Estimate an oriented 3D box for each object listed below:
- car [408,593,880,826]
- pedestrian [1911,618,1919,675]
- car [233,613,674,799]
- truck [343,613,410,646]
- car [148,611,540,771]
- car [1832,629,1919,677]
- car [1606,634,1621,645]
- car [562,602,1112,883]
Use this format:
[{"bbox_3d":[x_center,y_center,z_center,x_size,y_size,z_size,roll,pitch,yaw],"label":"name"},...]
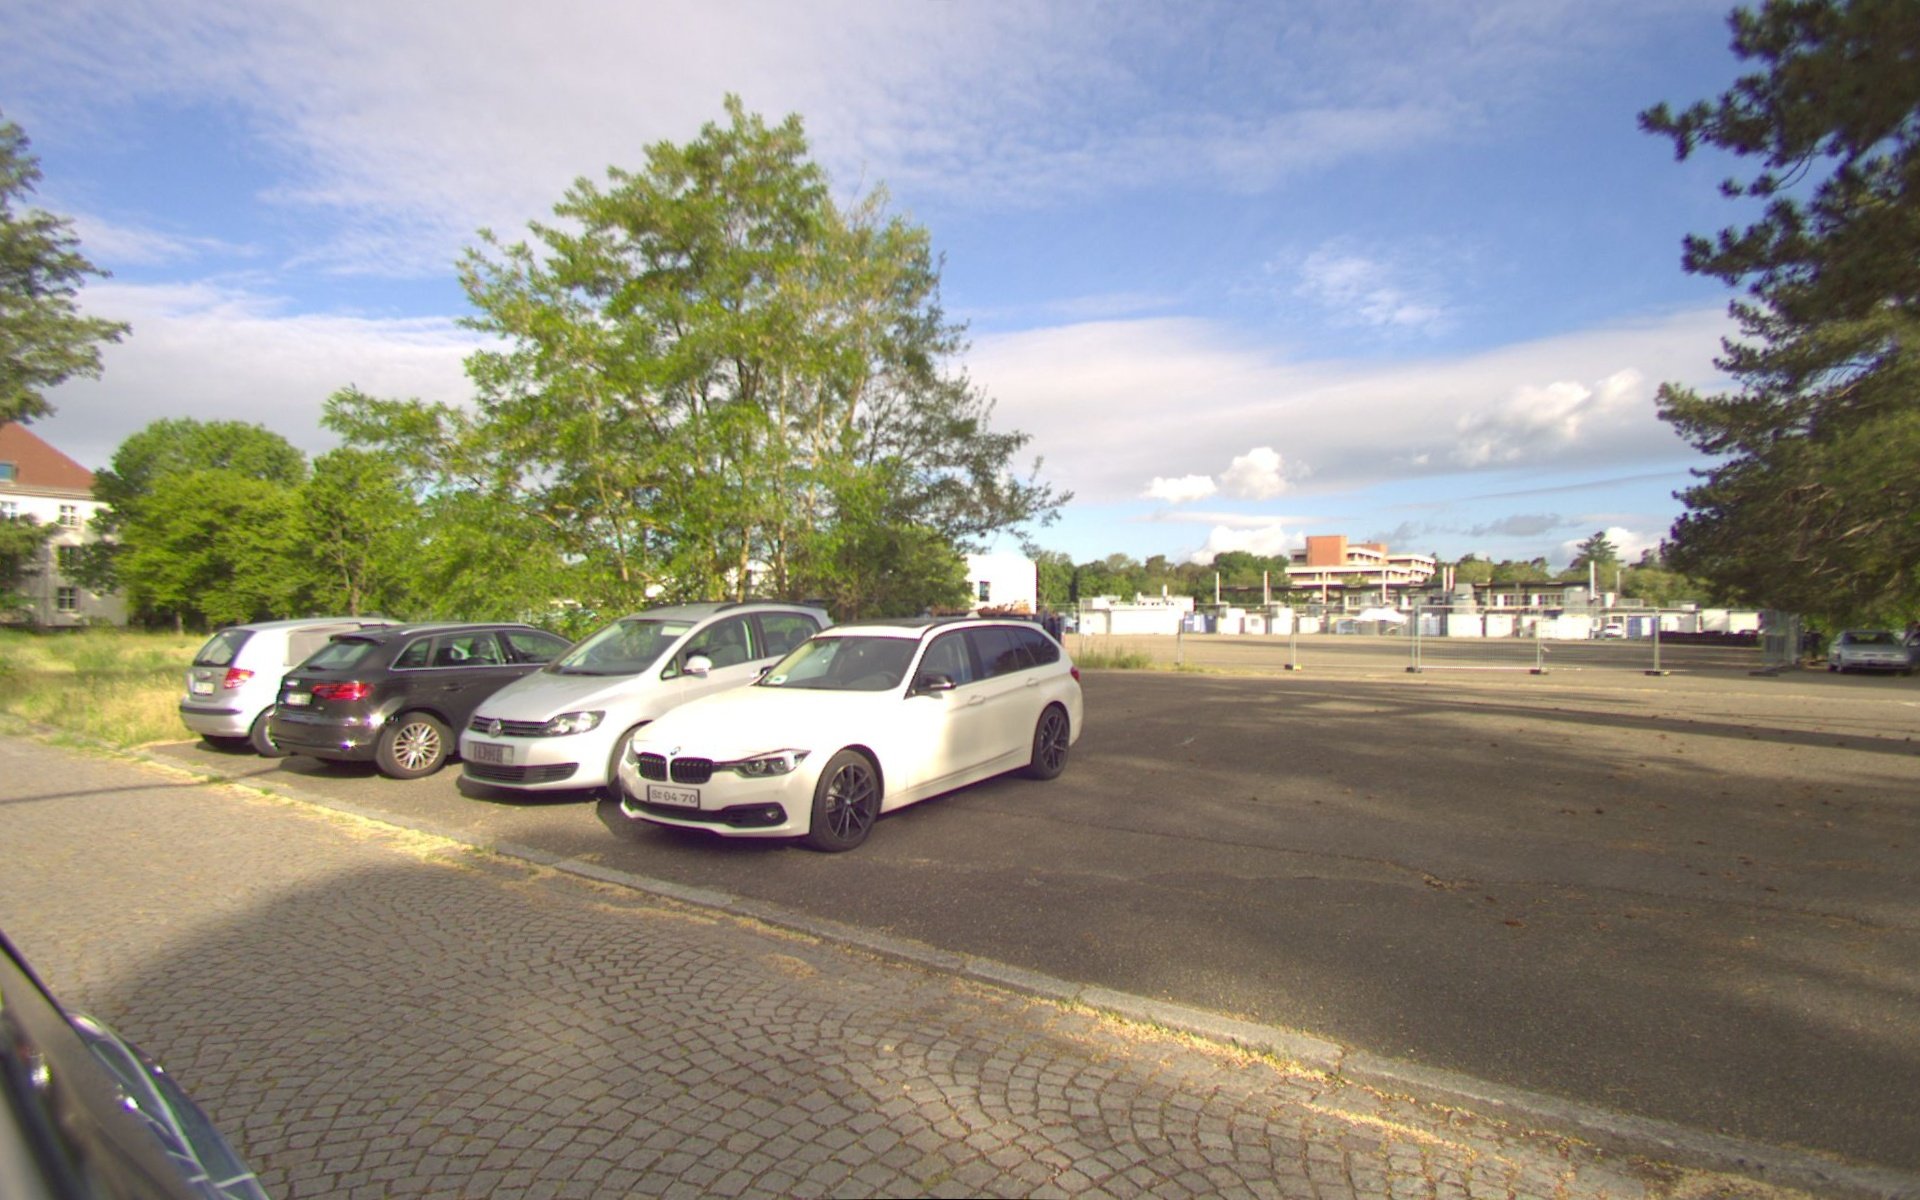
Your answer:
[{"bbox_3d":[-2.720,0.796,9.664,1.852,1.611,4.091,0,1,31],"label":"car"},{"bbox_3d":[30.207,1.433,31.105,1.082,1.758,0.877,0,-1,6],"label":"pedestrian"},{"bbox_3d":[-5.196,0.943,10.827,1.855,1.440,3.796,0,2,35],"label":"car"},{"bbox_3d":[-47.184,2.377,81.787,6.950,2.607,2.388,-2,-2,39],"label":"truck"},{"bbox_3d":[-7.344,0.952,12.380,1.845,1.484,3.652,0,2,34],"label":"car"},{"bbox_3d":[28.936,1.634,32.073,1.662,1.392,3.950,0,-1,37],"label":"car"},{"bbox_3d":[98.986,5.975,153.341,1.850,1.685,4.153,0,-1,32],"label":"car"},{"bbox_3d":[-0.632,0.850,8.220,1.898,1.466,4.550,-2,0,34],"label":"car"}]
